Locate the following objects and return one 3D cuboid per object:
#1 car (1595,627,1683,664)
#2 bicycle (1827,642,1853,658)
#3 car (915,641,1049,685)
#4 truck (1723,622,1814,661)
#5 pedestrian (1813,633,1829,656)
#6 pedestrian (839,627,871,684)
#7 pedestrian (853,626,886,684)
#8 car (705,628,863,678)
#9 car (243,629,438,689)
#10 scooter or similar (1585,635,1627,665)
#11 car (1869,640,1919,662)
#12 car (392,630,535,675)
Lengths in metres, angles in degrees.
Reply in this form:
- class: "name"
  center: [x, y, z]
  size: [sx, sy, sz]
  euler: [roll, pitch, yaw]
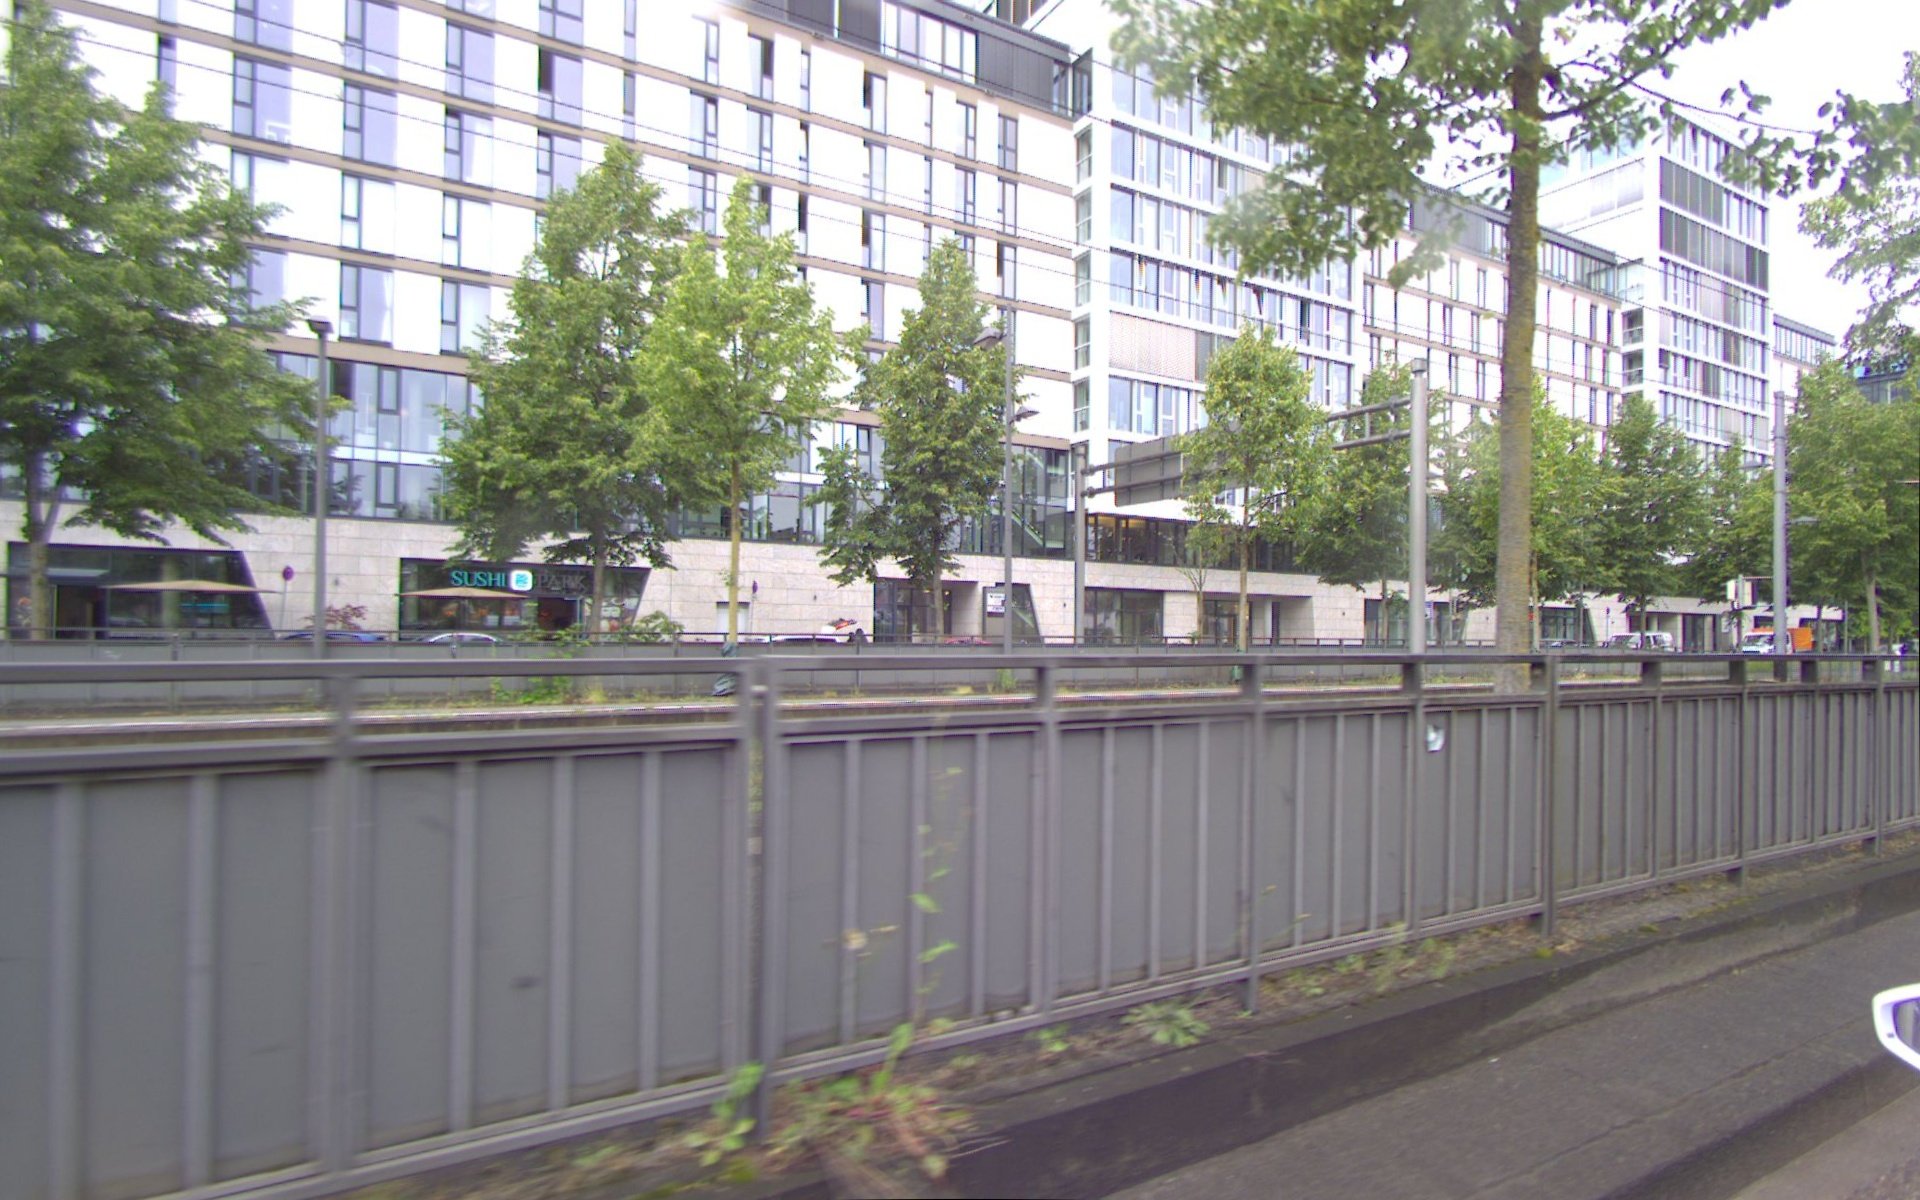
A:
- class: "car"
  center: [36.558, 2.429, 54.041]
  size: [5.105, 1.876, 1.984]
  euler: [2, -1, -31]
- class: "bicycle"
  center: [54.889, 3.103, 62.661]
  size: [1.734, 0.957, 0.597]
  euler: [1, -1, -27]
- class: "car"
  center: [0.700, 1.981, 32.132]
  size: [3.812, 1.305, 1.985]
  euler: [2, -2, -28]
- class: "truck"
  center: [50.580, 2.609, 62.831]
  size: [6.235, 2.322, 2.415]
  euler: [2, -1, -30]
- class: "pedestrian"
  center: [75.022, 3.898, 87.522]
  size: [0.843, 2.007, 0.793]
  euler: [1, -1, -22]
- class: "pedestrian"
  center: [-3.267, 1.712, 31.250]
  size: [0.782, 1.714, 0.708]
  euler: [1, -1, -27]
- class: "pedestrian"
  center: [-2.750, 1.667, 30.654]
  size: [0.782, 1.714, 0.708]
  euler: [1, -1, -27]
- class: "car"
  center: [-5.010, 1.492, 28.595]
  size: [4.020, 1.305, 1.985]
  euler: [2, -2, -28]
- class: "car"
  center: [-14.762, 1.412, 24.164]
  size: [3.815, 1.305, 1.984]
  euler: [3, -2, -30]
- class: "scooter or similar"
  center: [41.931, 3.231, 65.230]
  size: [0.876, 1.849, 2.112]
  euler: [1, -1, -33]
- class: "car"
  center: [66.380, 3.614, 71.180]
  size: [3.942, 1.484, 1.846]
  euler: [2, -2, -31]
- class: "car"
  center: [-15.255, 1.601, 30.960]
  size: [3.812, 1.305, 1.985]
  euler: [2, -2, -28]
